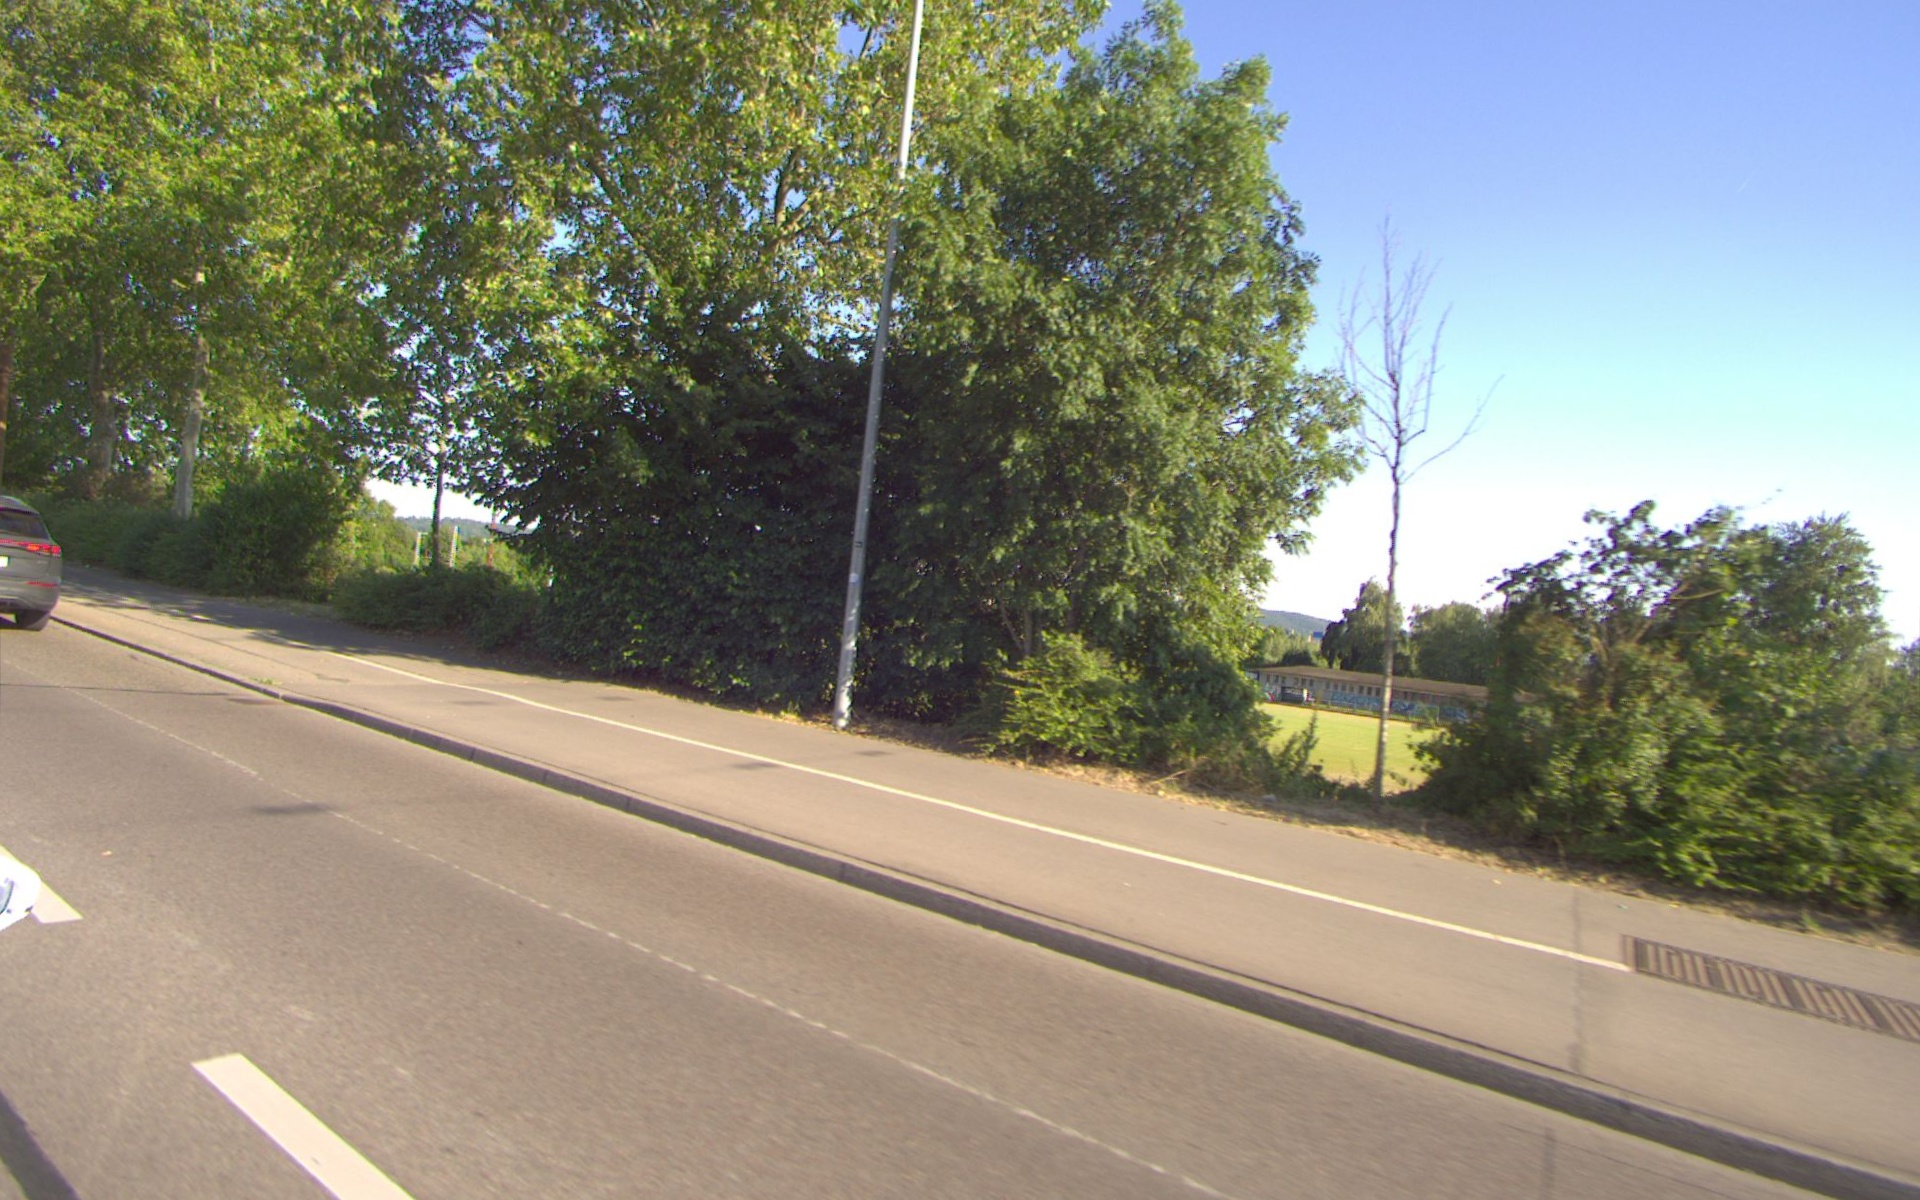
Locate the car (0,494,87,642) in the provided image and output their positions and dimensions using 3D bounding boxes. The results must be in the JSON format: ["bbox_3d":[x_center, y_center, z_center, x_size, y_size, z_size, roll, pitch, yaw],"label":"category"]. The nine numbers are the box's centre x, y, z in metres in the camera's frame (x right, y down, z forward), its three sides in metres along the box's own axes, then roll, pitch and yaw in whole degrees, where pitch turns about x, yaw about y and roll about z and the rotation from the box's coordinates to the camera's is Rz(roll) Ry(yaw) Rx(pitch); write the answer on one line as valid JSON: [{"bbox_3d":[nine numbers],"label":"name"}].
[{"bbox_3d":[-13.168,-0.619,12.868,4.369,1.680,1.847,7,-2,34],"label":"car"}]
